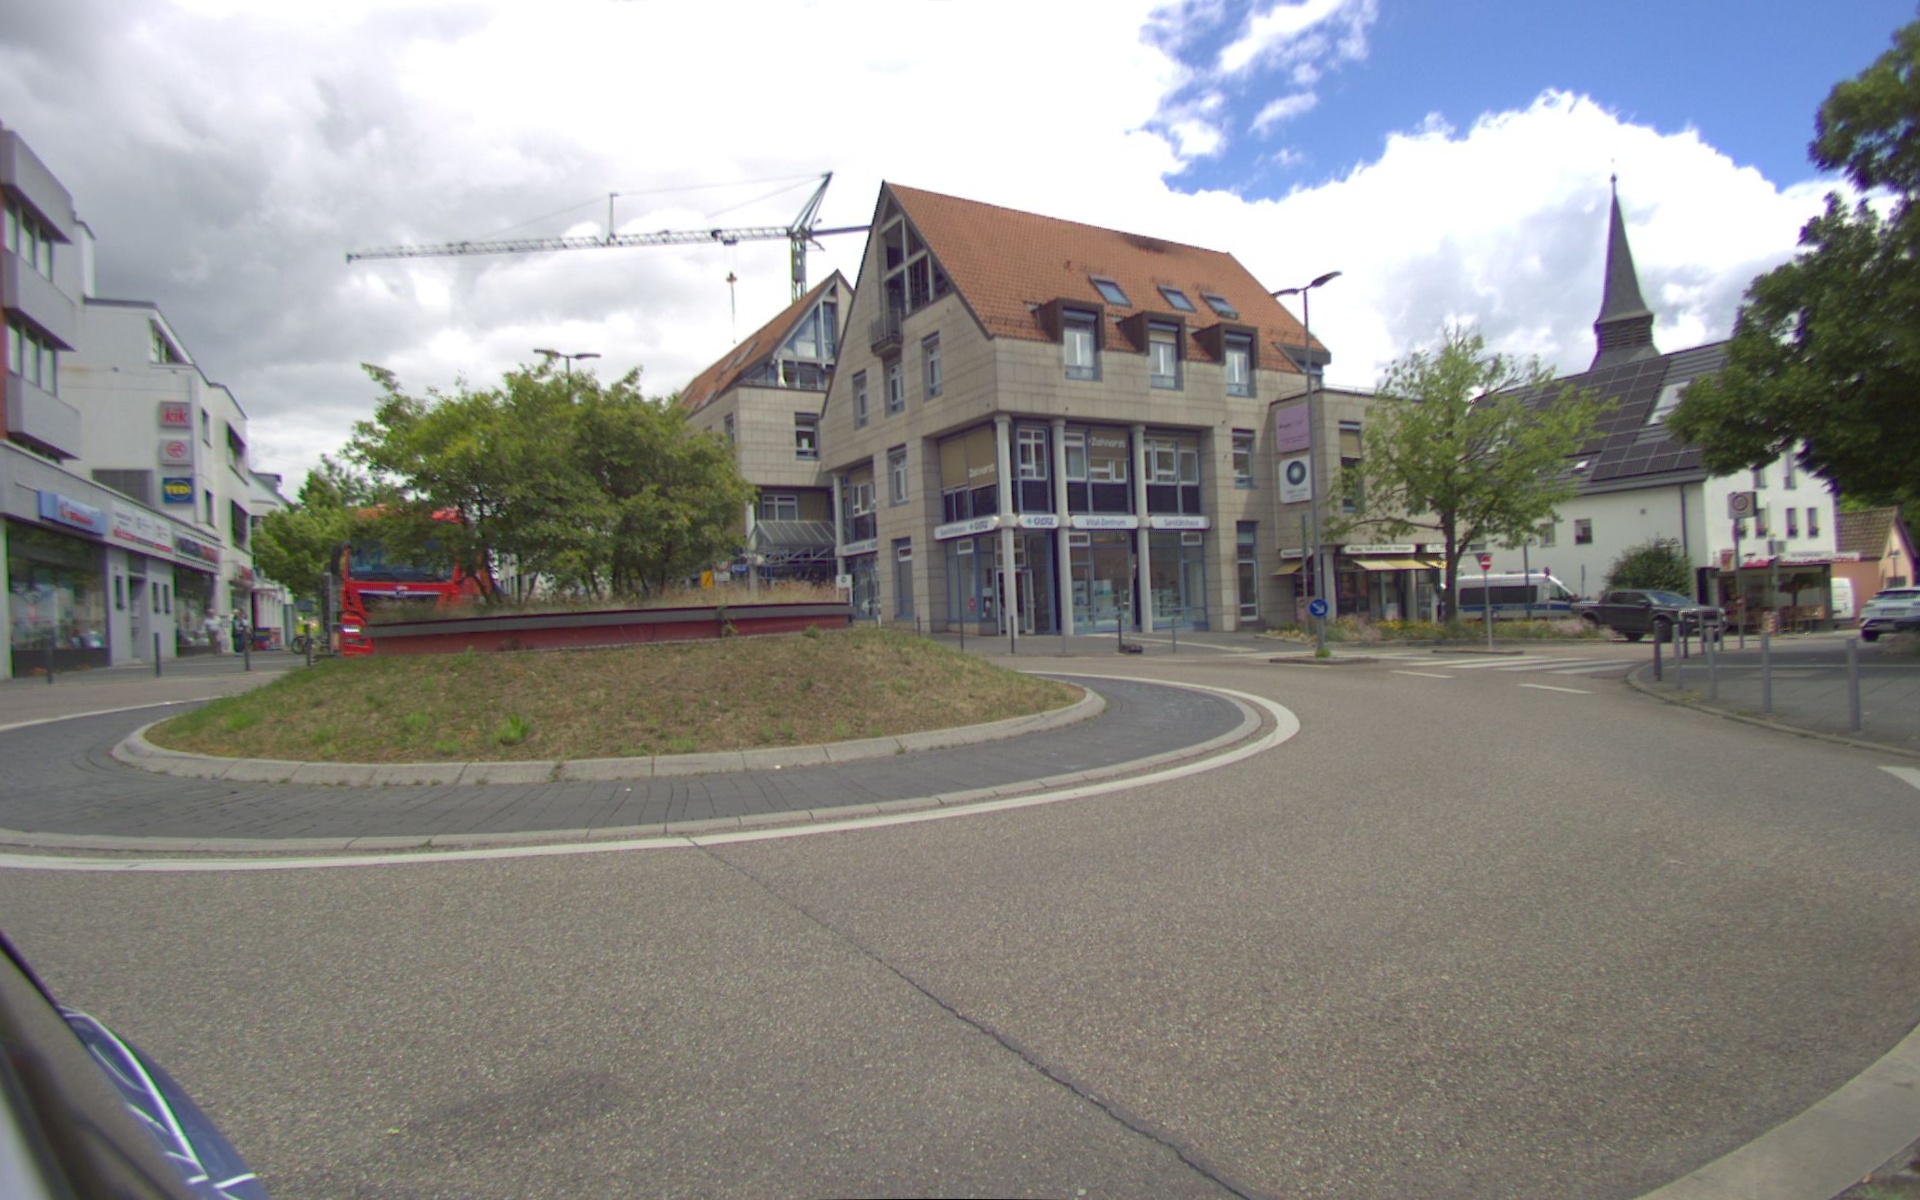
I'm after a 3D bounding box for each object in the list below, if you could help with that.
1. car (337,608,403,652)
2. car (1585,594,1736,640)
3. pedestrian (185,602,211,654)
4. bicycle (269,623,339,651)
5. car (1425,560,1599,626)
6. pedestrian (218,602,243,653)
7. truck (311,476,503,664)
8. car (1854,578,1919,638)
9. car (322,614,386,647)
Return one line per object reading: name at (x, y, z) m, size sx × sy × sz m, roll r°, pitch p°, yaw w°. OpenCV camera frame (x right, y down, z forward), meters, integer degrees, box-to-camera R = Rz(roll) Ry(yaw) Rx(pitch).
car at (-23.021, 1.148, 39.618) m, size 1.831 × 1.593 × 4.390 m, roll 0°, pitch -1°, yaw -25°
car at (23.821, 0.570, 34.575) m, size 1.661 × 1.431 × 4.012 m, roll -1°, pitch 0°, yaw -19°
pedestrian at (-26.735, 0.972, 35.521) m, size 0.669 × 1.769 × 0.512 m, roll -1°, pitch 0°, yaw -32°
bicycle at (-23.138, 1.306, 35.734) m, size 2.031 × 0.953 × 0.523 m, roll 0°, pitch -1°, yaw -31°
car at (23.210, -0.290, 42.744) m, size 6.282 × 2.579 × 2.183 m, roll 1°, pitch -2°, yaw 31°
pedestrian at (-25.905, 0.968, 35.919) m, size 0.502 × 1.769 × 0.538 m, roll -1°, pitch 0°, yaw -8°
truck at (-14.403, -0.569, 27.310) m, size 2.916 × 4.058 × 10.629 m, roll 0°, pitch -1°, yaw -20°
car at (26.625, 0.172, 27.675) m, size 3.931 × 1.542 × 1.990 m, roll -1°, pitch 0°, yaw -29°
car at (-30.717, 1.530, 51.233) m, size 1.836 × 1.578 × 4.379 m, roll 0°, pitch -1°, yaw -44°
